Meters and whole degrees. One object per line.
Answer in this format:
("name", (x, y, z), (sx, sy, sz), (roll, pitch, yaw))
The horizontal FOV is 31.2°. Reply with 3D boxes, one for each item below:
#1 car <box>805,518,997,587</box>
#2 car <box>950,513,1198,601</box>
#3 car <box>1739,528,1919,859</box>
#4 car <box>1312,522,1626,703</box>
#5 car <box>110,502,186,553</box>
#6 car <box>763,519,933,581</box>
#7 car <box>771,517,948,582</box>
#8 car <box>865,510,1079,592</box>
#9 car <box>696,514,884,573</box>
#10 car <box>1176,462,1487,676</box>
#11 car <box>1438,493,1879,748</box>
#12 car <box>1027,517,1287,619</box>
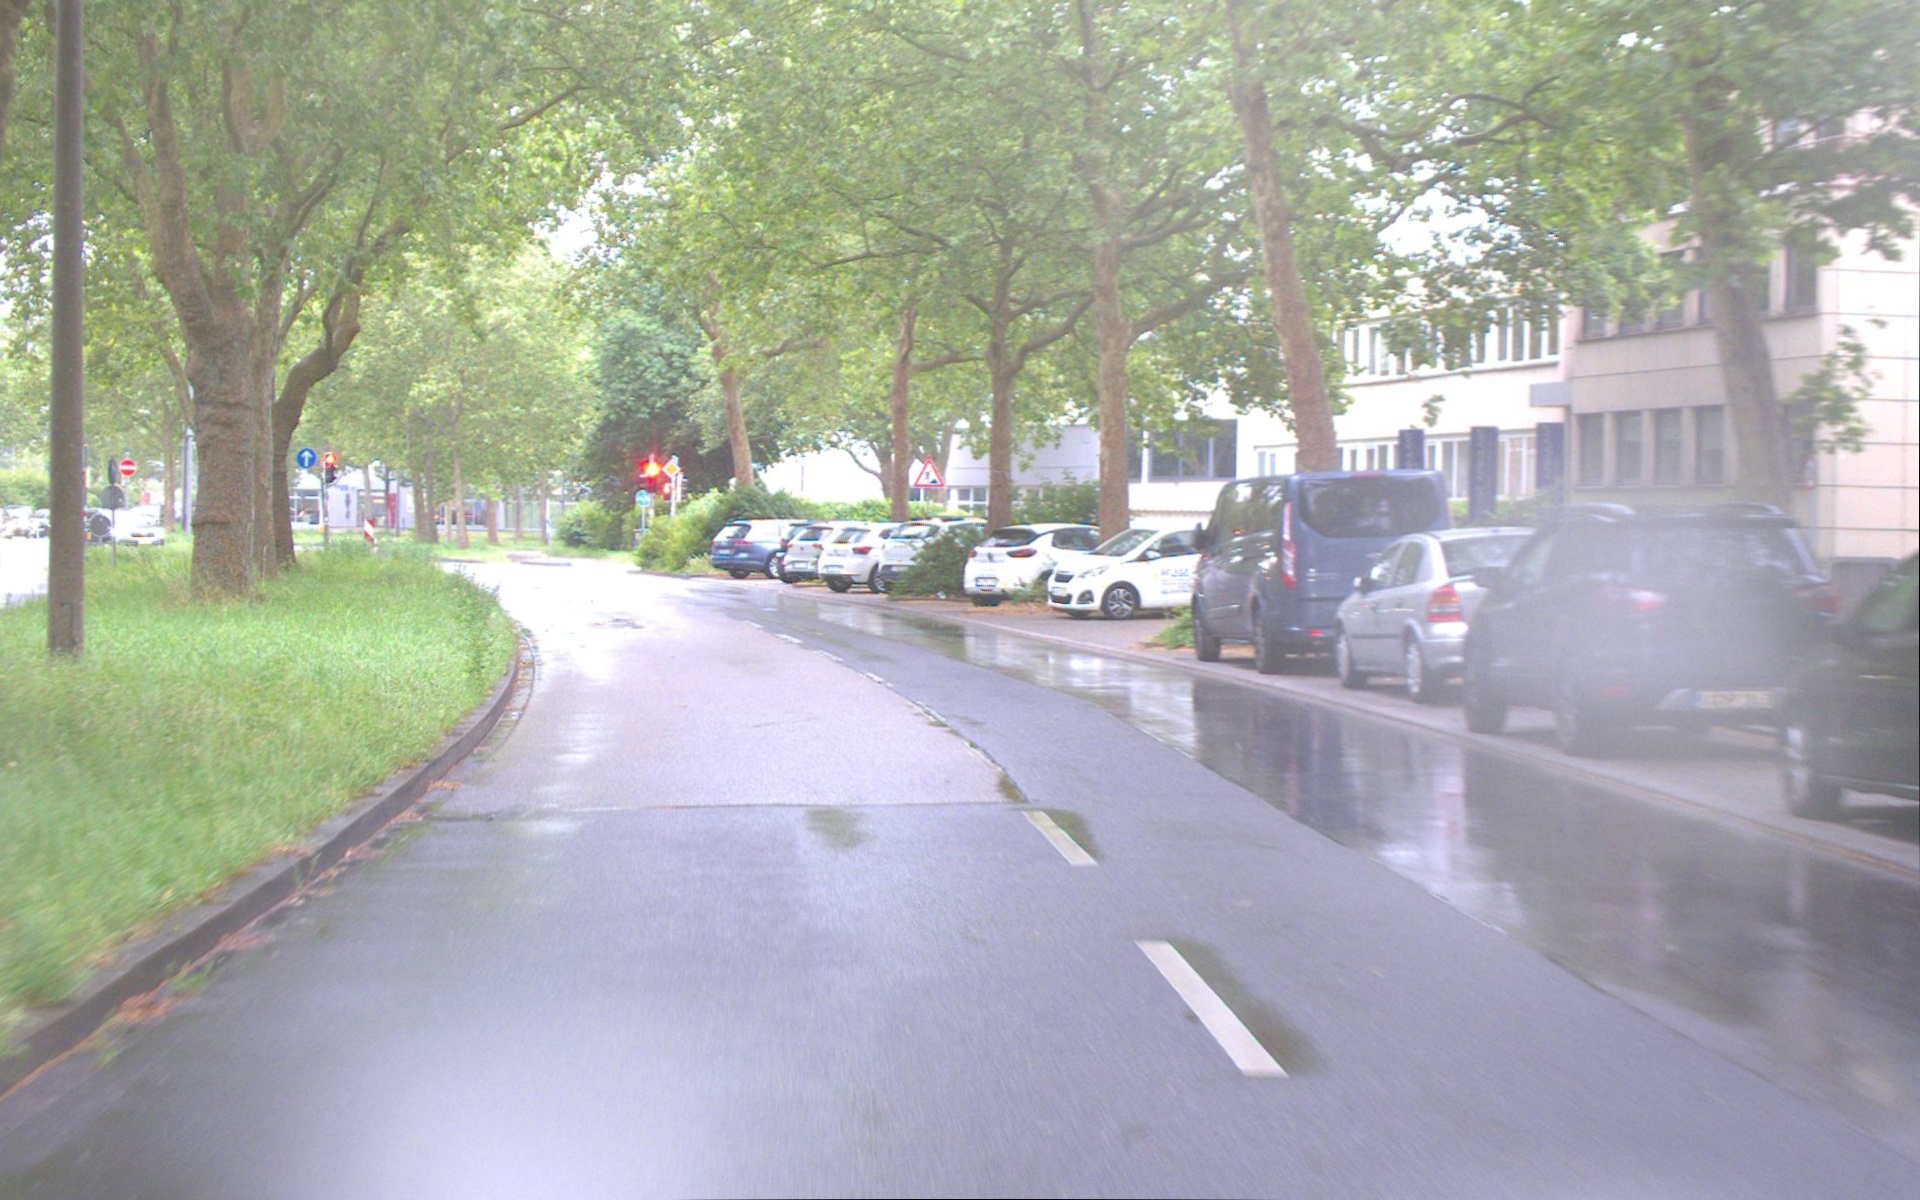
("car", (-1.226, -0.993, 71.989), (3.681, 1.411, 1.749), (0, 1, -37))
("car", (1.934, -0.728, 57.754), (4.026, 1.423, 1.748), (0, 2, -40))
("car", (5.104, 0.401, 16.295), (1.743, 1.471, 4.083), (0, 1, -2))
("car", (4.375, 0.055, 30.204), (1.743, 1.464, 4.307), (0, 1, -5))
("car", (-26.950, -2.399, 114.083), (1.743, 1.644, 4.307), (0, 1, -23))
("car", (-2.613, -1.172, 80.710), (3.682, 1.411, 1.748), (0, 2, -40))
("car", (-2.249, -1.143, 77.444), (3.682, 1.411, 1.775), (0, 2, -41))
("car", (0.261, -0.961, 66.968), (4.027, 1.534, 1.748), (-1, 2, -42))
("car", (-4.253, -1.412, 86.232), (4.482, 1.454, 1.749), (0, 1, -37))
("car", (3.712, -0.356, 35.505), (2.121, 2.021, 5.529), (0, 1, -5))
("car", (4.615, 0.084, 23.380), (1.743, 1.561, 4.372), (0, 1, -5))
("car", (3.068, -0.520, 53.509), (3.634, 1.499, 1.750), (-1, 3, -24))
